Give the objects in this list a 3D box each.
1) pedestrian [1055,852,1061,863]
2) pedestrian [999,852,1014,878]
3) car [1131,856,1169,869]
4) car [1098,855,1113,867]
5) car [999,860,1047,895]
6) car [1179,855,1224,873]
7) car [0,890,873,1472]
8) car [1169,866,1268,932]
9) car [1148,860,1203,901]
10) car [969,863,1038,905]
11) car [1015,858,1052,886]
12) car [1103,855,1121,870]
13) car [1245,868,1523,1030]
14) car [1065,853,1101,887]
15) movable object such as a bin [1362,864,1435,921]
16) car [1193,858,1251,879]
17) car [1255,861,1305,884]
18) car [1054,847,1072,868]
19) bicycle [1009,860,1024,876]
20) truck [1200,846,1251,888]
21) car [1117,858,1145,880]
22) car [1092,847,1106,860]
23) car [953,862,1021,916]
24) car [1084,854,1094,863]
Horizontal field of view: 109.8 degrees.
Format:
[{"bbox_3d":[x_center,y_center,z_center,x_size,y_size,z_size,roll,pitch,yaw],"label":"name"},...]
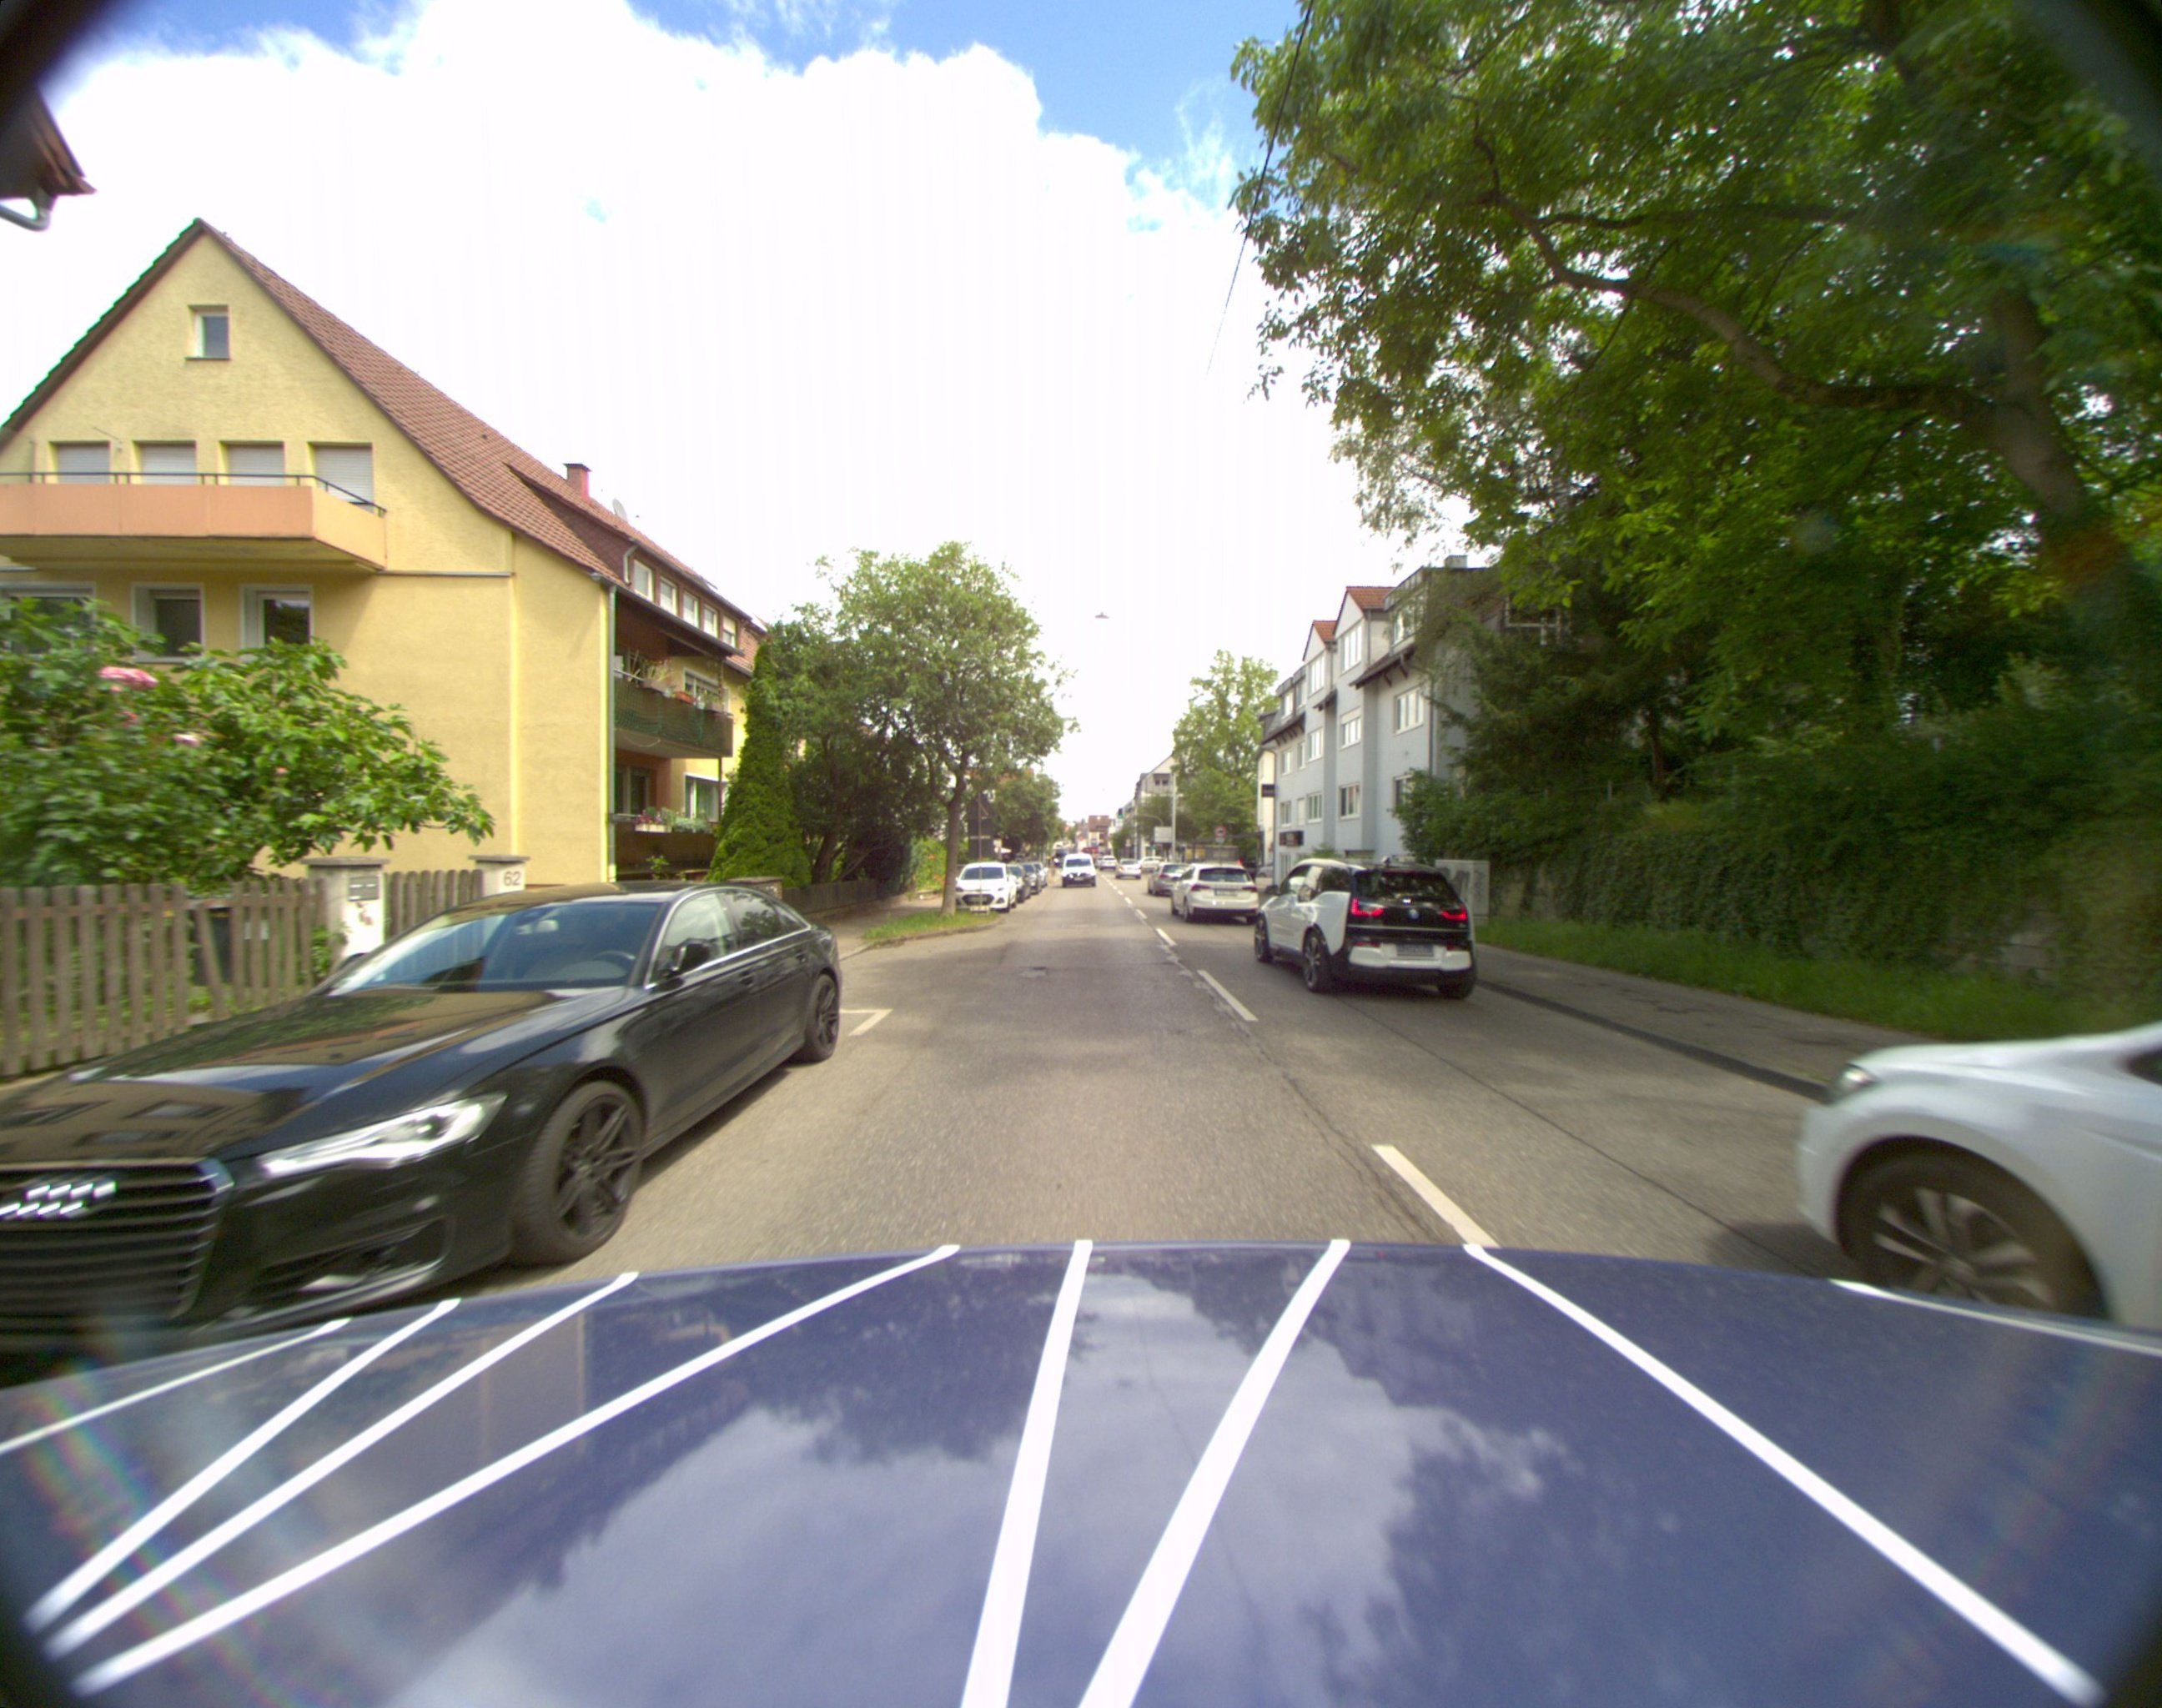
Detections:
[{"bbox_3d":[-3.390,0.483,113.170,0.786,1.633,0.798,0,1,5],"label":"pedestrian"},{"bbox_3d":[-4.898,0.718,50.106,0.882,1.703,0.842,0,1,2],"label":"pedestrian"},{"bbox_3d":[7.960,0.958,87.425,4.222,1.504,1.822,0,-1,0],"label":"car"},{"bbox_3d":[2.984,0.827,94.527,1.621,1.477,3.812,0,0,-2],"label":"car"},{"bbox_3d":[-2.580,1.041,34.902,1.738,1.420,4.883,-2,0,0],"label":"car"},{"bbox_3d":[13.306,1.066,84.176,4.633,1.997,2.095,0,0,-3],"label":"car"},{"bbox_3d":[-2.848,1.069,4.641,1.806,1.436,4.886,-2,0,-1],"label":"car"},{"bbox_3d":[3.378,1.069,19.418,1.764,1.431,3.970,2,0,0],"label":"car"},{"bbox_3d":[3.922,1.061,32.236,1.714,1.447,4.286,3,0,0],"label":"car"},{"bbox_3d":[-2.854,1.073,28.996,1.998,1.415,4.589,1,0,2],"label":"car"},{"bbox_3d":[-2.650,0.960,43.345,1.705,1.472,4.872,-1,0,0],"label":"car"},{"bbox_3d":[3.366,0.883,82.715,1.810,1.562,4.159,2,0,0],"label":"car"},{"bbox_3d":[3.586,1.025,9.935,1.933,1.537,4.086,3,0,0],"label":"car"},{"bbox_3d":[0.160,0.822,42.002,1.870,1.805,5.007,0,0,1],"label":"car"},{"bbox_3d":[8.308,0.991,19.933,1.334,1.419,1.213,0,1,-6],"label":"movable object such as a bin"},{"bbox_3d":[9.885,1.030,53.605,3.703,1.417,1.804,0,0,-3],"label":"car"},{"bbox_3d":[13.460,1.224,51.482,2.839,1.461,1.569,2,2,39],"label":"car"},{"bbox_3d":[-2.392,0.454,103.179,2.153,2.754,6.249,0,0,1],"label":"car"},{"bbox_3d":[-4.997,1.088,58.872,0.722,1.143,2.214,0,1,6],"label":"bicycle"},{"bbox_3d":[8.694,0.703,46.200,2.229,2.366,6.326,0,1,3],"label":"truck"},{"bbox_3d":[3.695,1.056,56.544,1.733,1.494,4.376,3,0,0],"label":"car"},{"bbox_3d":[2.832,-0.072,119.167,1.882,1.901,4.751,0,0,-2],"label":"car"},{"bbox_3d":[-2.829,1.013,23.595,1.626,1.499,3.779,1,0,0],"label":"car"},{"bbox_3d":[1.382,0.800,138.395,1.732,1.529,4.000,0,0,-1],"label":"car"}]
